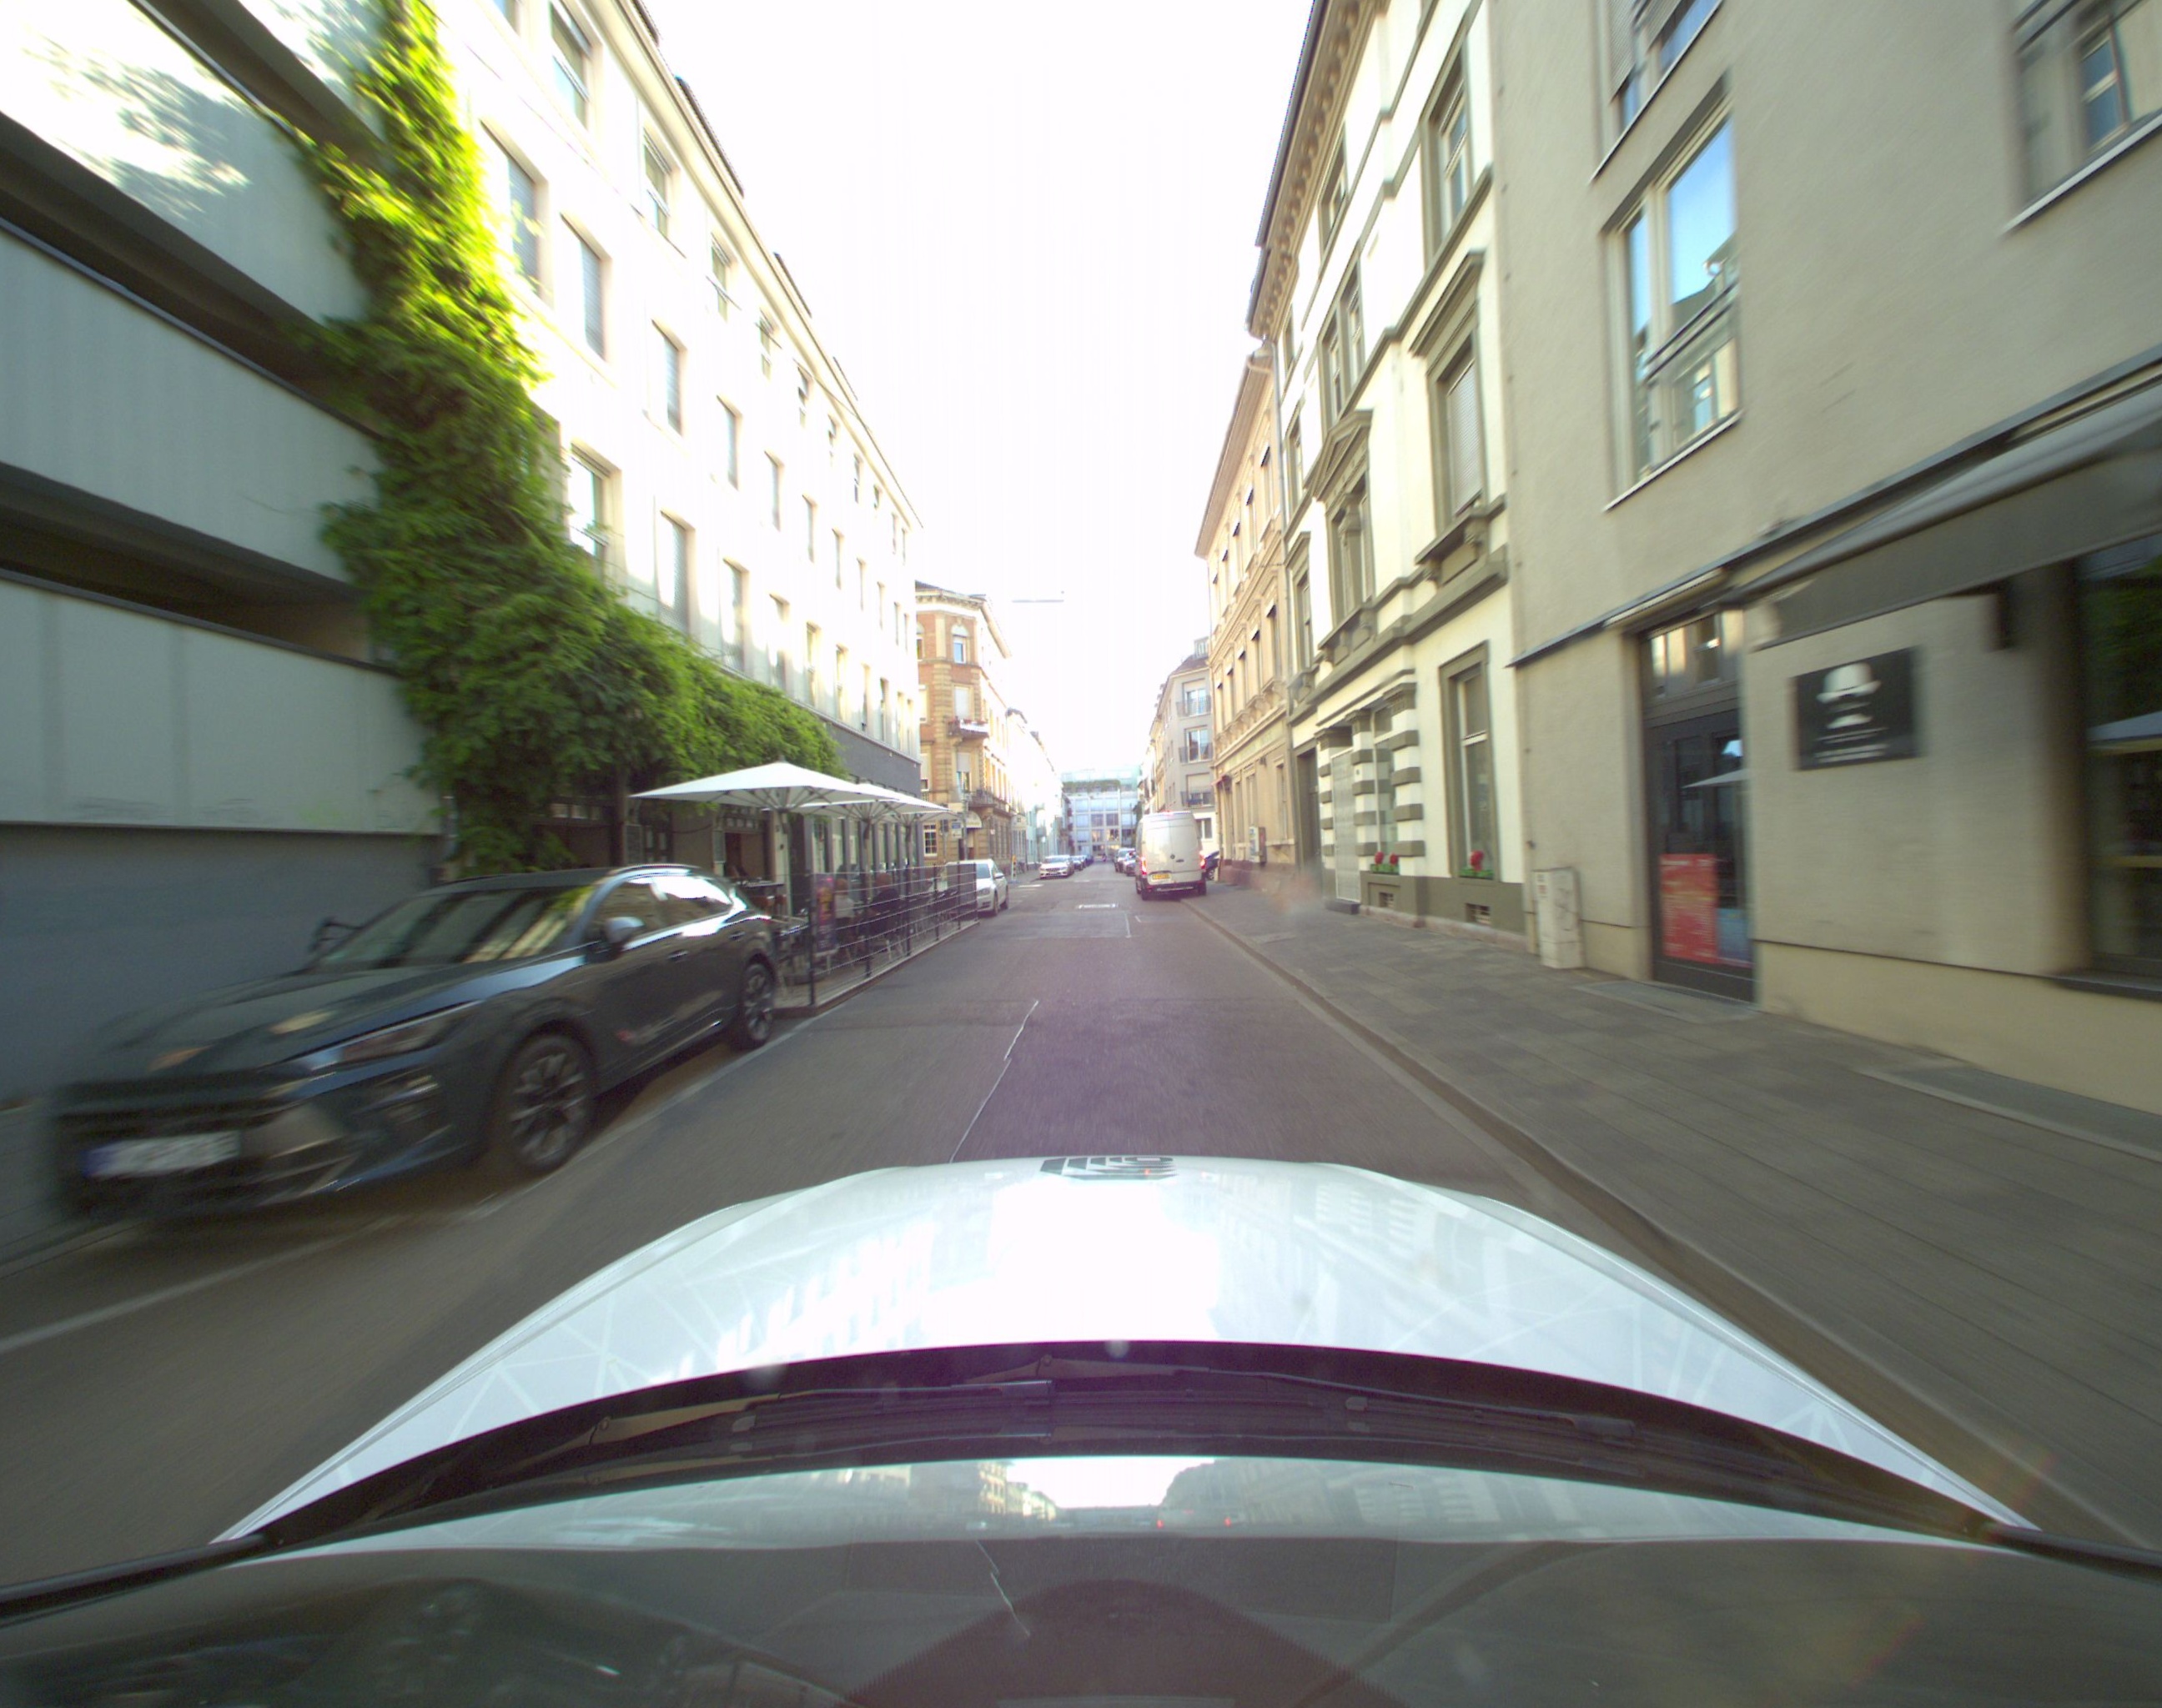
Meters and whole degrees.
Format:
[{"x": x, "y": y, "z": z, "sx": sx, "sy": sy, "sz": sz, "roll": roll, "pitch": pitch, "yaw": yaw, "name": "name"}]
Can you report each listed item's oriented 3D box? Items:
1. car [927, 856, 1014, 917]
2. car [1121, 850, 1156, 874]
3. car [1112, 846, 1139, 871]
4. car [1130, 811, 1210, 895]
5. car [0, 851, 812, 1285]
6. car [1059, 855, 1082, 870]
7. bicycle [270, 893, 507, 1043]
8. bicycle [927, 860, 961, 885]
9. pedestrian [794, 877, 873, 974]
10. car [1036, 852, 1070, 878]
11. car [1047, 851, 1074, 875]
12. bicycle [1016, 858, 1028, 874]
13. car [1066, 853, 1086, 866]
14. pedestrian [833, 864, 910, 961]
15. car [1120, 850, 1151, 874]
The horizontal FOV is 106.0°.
[{"x": -2.847, "y": 0.801, "z": 21.745, "sx": 1.652, "sy": 1.414, "sz": 3.883, "roll": -3, "pitch": 0, "yaw": 1, "name": "car"}, {"x": 3.631, "y": 0.500, "z": 52.075, "sx": 1.931, "sy": 1.372, "sz": 3.789, "roll": -4, "pitch": 0, "yaw": 1, "name": "car"}, {"x": 3.460, "y": 0.354, "z": 63.576, "sx": 1.887, "sy": 1.784, "sz": 4.001, "roll": -2, "pitch": 0, "yaw": 1, "name": "car"}, {"x": 2.856, "y": -0.039, "z": 27.530, "sx": 2.267, "sy": 2.439, "sz": 6.208, "roll": -2, "pitch": 0, "yaw": 3, "name": "car"}, {"x": -3.636, "y": 0.844, "z": 5.586, "sx": 1.875, "sy": 1.568, "sz": 4.770, "roll": -5, "pitch": 0, "yaw": 0, "name": "car"}, {"x": -0.956, "y": 0.774, "z": 76.182, "sx": 1.986, "sy": 1.355, "sz": 4.430, "roll": -2, "pitch": 0, "yaw": 1, "name": "car"}, {"x": -6.489, "y": 1.008, "z": 7.781, "sx": 0.640, "sy": 1.160, "sz": 1.795, "roll": -2, "pitch": 0, "yaw": 3, "name": "bicycle"}, {"x": -7.533, "y": 1.022, "z": 44.848, "sx": 1.753, "sy": 1.275, "sz": 0.660, "roll": -2, "pitch": 3, "yaw": -2, "name": "bicycle"}, {"x": -3.200, "y": 0.901, "z": 10.547, "sx": 0.546, "sy": 1.165, "sz": 0.746, "roll": -3, "pitch": 0, "yaw": 34, "name": "pedestrian"}, {"x": -1.774, "y": 0.675, "z": 53.237, "sx": 1.987, "sy": 1.564, "sz": 4.505, "roll": -2, "pitch": 0, "yaw": 0, "name": "car"}, {"x": -1.471, "y": 0.621, "z": 58.926, "sx": 1.618, "sy": 1.576, "sz": 3.757, "roll": -2, "pitch": 0, "yaw": 3, "name": "car"}, {"x": -4.683, "y": 0.932, "z": 64.732, "sx": 0.735, "sy": 1.160, "sz": 2.462, "roll": -2, "pitch": 0, "yaw": 2, "name": "bicycle"}, {"x": -0.586, "y": 0.640, "z": 93.958, "sx": 2.166, "sy": 1.418, "sz": 3.999, "roll": -2, "pitch": 0, "yaw": 0, "name": "car"}, {"x": -2.962, "y": 0.806, "z": 11.583, "sx": 0.778, "sy": 1.287, "sz": 0.916, "roll": -3, "pitch": 0, "yaw": 2, "name": "pedestrian"}, {"x": 3.868, "y": 0.529, "z": 58.145, "sx": 1.956, "sy": 1.557, "sz": 3.890, "roll": -2, "pitch": 0, "yaw": 1, "name": "car"}]
